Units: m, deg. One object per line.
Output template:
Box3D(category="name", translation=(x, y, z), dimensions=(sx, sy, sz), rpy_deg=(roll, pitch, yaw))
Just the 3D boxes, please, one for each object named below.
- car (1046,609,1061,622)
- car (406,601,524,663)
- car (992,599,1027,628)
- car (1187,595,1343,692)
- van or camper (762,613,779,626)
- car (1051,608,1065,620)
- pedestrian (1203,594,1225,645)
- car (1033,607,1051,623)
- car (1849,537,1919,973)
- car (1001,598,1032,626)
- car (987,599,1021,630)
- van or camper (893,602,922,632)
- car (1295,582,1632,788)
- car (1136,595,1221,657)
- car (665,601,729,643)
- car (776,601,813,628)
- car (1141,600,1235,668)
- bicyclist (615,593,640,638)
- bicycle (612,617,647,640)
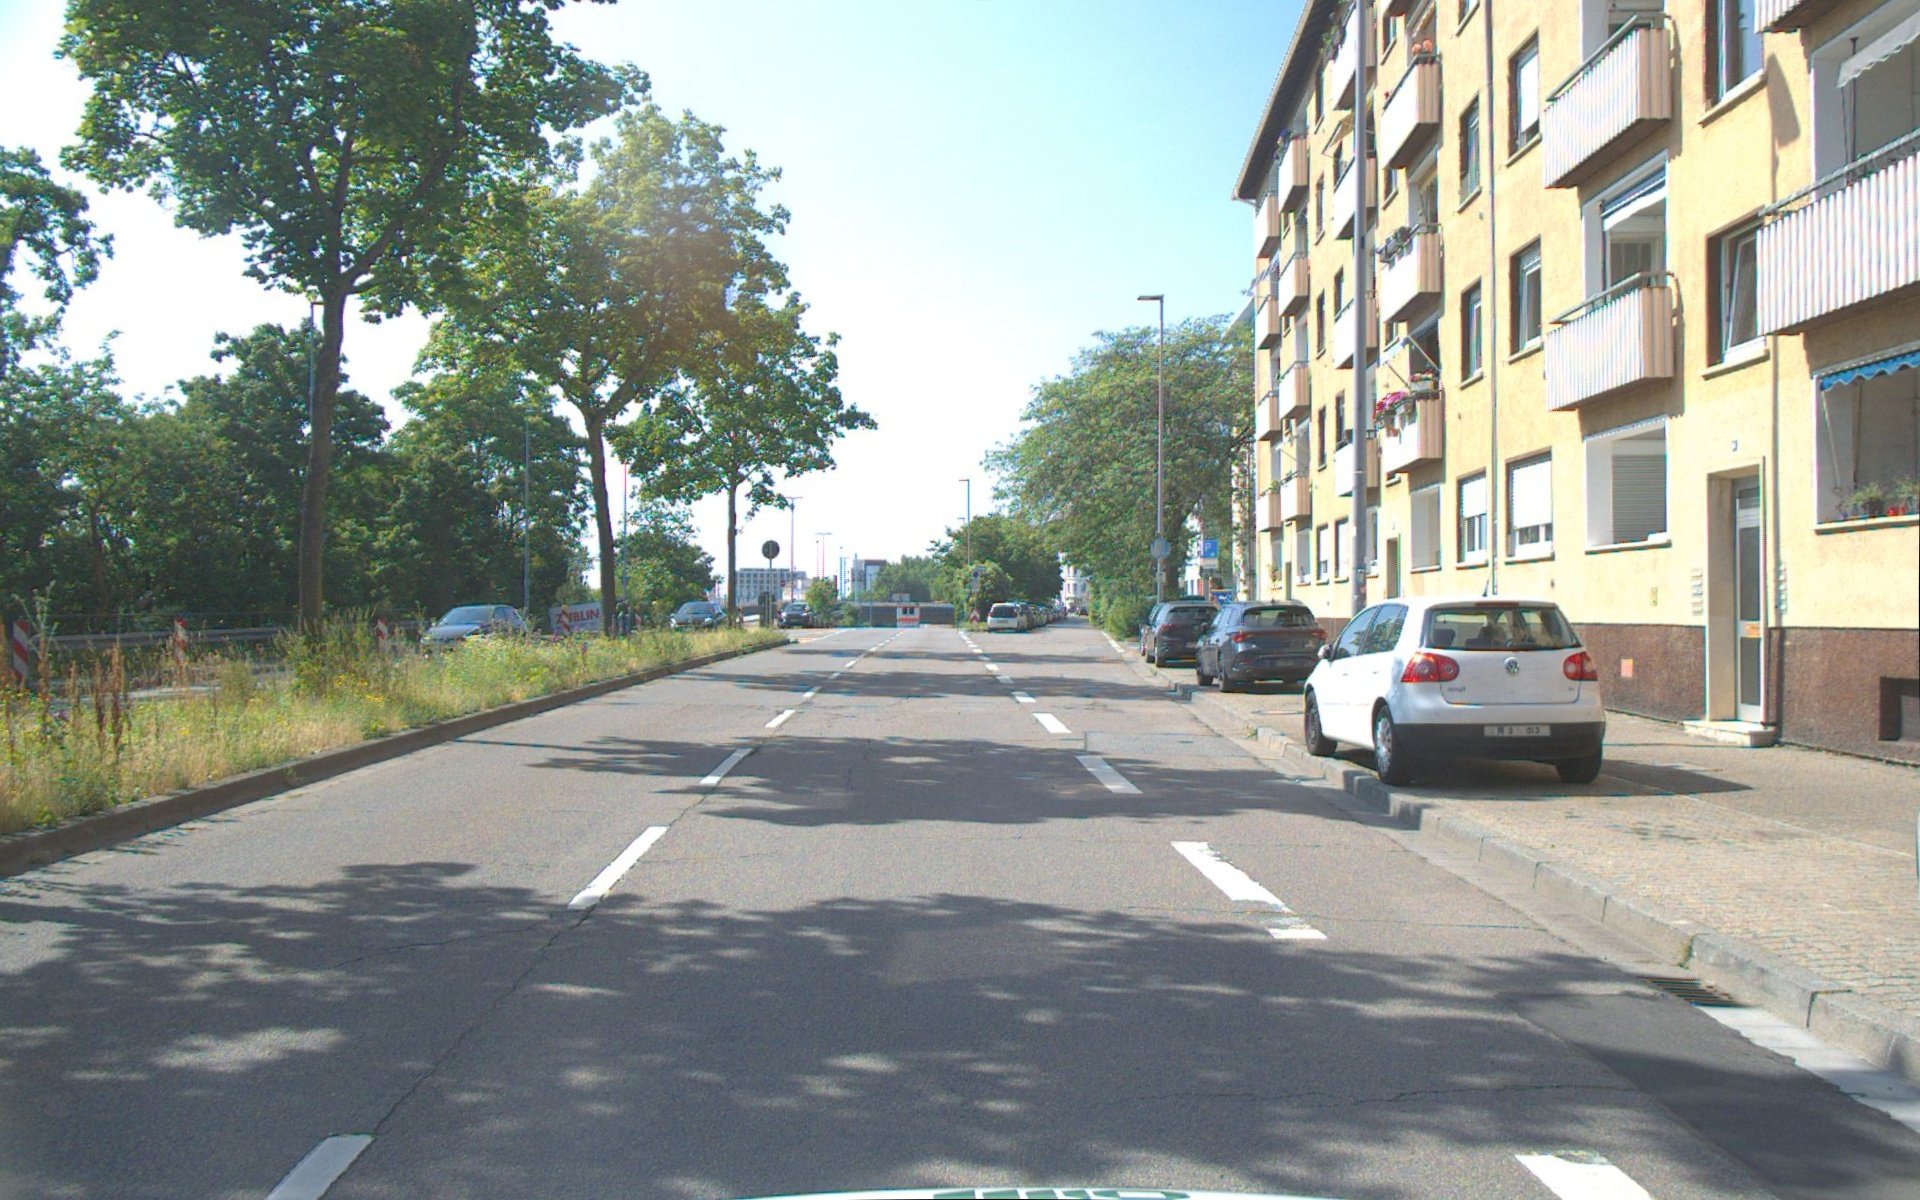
Box3D(category="car", translation=(12.602, 2.051, 223.259), dimensions=(1.952, 1.686, 4.002), rpy_deg=(0, -1, 3))
Box3D(category="car", translation=(-12.914, 0.811, 43.412), dimensions=(1.760, 1.557, 4.001), rpy_deg=(0, 0, 2))
Box3D(category="car", translation=(2.737, 0.718, 90.198), dimensions=(1.685, 1.532, 4.134), rpy_deg=(-1, 0, 5))
Box3D(category="car", translation=(5.026, 0.673, 27.818), dimensions=(1.763, 1.463, 4.590), rpy_deg=(-1, 0, 0))
Box3D(category="van or camper", translation=(-20.088, 2.026, 175.623), dimensions=(1.437, 1.373, 4.629), rpy_deg=(0, 0, -2))
Box3D(category="car", translation=(13.775, 1.985, 233.007), dimensions=(1.952, 1.686, 4.002), rpy_deg=(0, -1, 3))
Box3D(category="pedestrian", translation=(8.410, 0.642, 54.867), dimensions=(0.641, 1.637, 0.824), rpy_deg=(-1, 0, 5))
Box3D(category="car", translation=(8.463, 1.543, 170.394), dimensions=(1.629, 1.536, 4.010), rpy_deg=(2, 0, 5))
Box3D(category="car", translation=(4.285, 0.539, 4.211), dimensions=(1.700, 1.568, 4.353), rpy_deg=(-1, 0, 0))
Box3D(category="car", translation=(3.236, 0.678, 95.664), dimensions=(1.735, 1.607, 4.187), rpy_deg=(-1, 0, 2))
Box3D(category="car", translation=(2.294, 0.719, 85.491), dimensions=(1.585, 1.532, 3.463), rpy_deg=(-1, 0, 5))
Box3D(category="van or camper", translation=(-4.971, 1.588, 158.224), dimensions=(2.248, 2.838, 5.573), rpy_deg=(0, -1, 3))
Box3D(category="car", translation=(4.232, 0.639, 14.595), dimensions=(1.720, 1.532, 4.128), rpy_deg=(-1, 0, 0))
Box3D(category="car", translation=(5.750, 0.650, 43.901), dimensions=(1.668, 1.540, 4.091), rpy_deg=(-1, 0, 0))
Box3D(category="car", translation=(-9.848, 0.800, 62.193), dimensions=(1.727, 1.500, 4.085), rpy_deg=(-1, 0, 0))
Box3D(category="car", translation=(-10.956, 0.941, 109.654), dimensions=(1.953, 1.764, 4.729), rpy_deg=(0, 0, 0))
Box3D(category="car", translation=(5.291, 0.746, 38.814), dimensions=(1.675, 1.487, 4.256), rpy_deg=(-1, 0, 1))
Box3D(category="bicyclist", translation=(-13.836, 0.636, 68.866), dimensions=(0.681, 1.864, 1.018), rpy_deg=(-1, 0, 9))
Box3D(category="bicycle", translation=(-13.796, 1.196, 69.098), dimensions=(0.678, 0.921, 2.344), rpy_deg=(-1, 0, 9))
